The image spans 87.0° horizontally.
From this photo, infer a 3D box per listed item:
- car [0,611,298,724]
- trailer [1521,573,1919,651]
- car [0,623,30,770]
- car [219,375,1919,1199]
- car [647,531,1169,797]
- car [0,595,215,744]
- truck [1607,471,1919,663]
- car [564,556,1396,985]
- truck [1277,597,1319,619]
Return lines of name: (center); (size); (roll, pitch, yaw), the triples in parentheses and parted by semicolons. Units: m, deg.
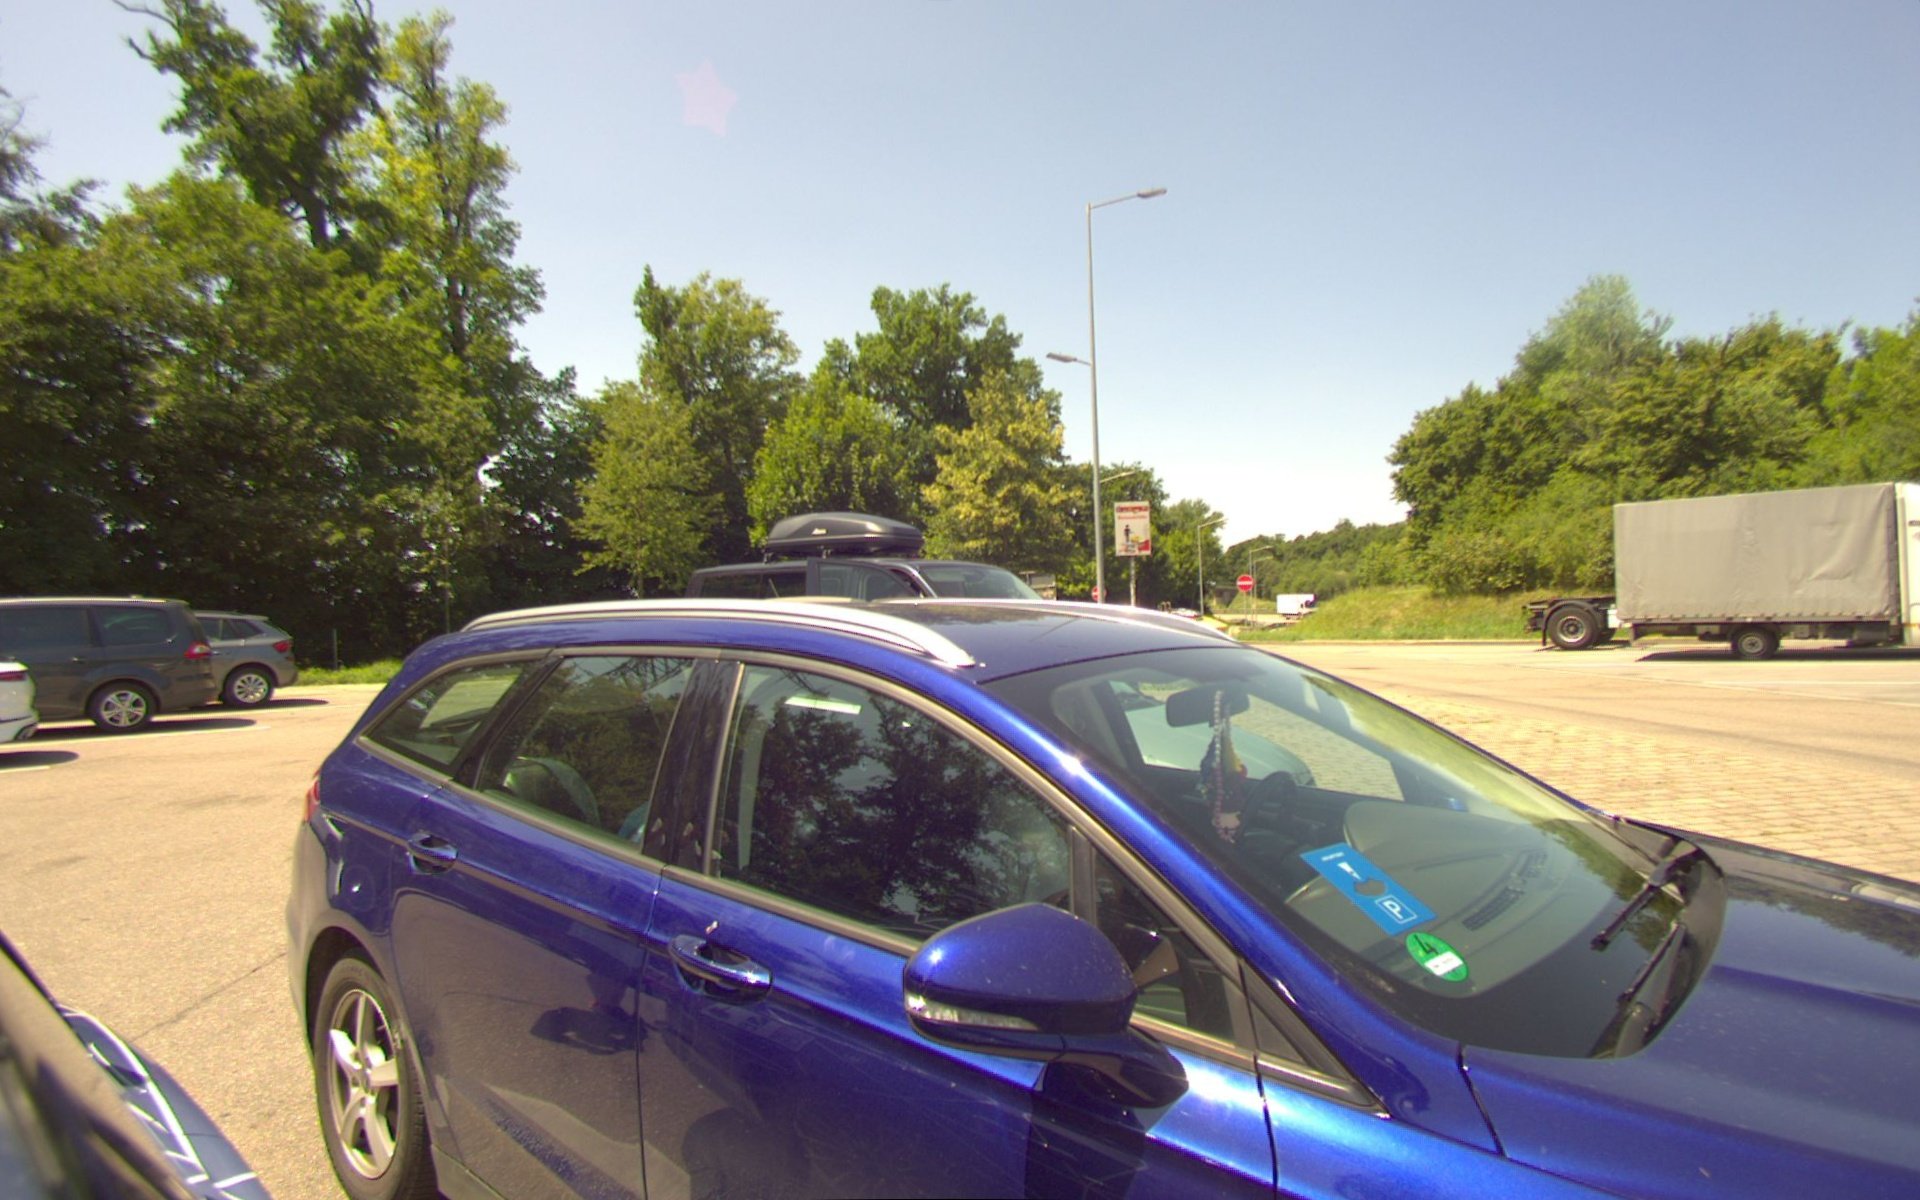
car: (-12.585, 0.959, 15.703); (3.762, 1.551, 1.724); (0, -1, -38)
trailer: (17.644, 0.319, 23.156); (8.088, 1.385, 2.200); (-4, -1, 41)
car: (-10.987, 0.934, 9.158); (3.767, 1.396, 1.722); (0, -1, -43)
car: (0.256, 0.636, 2.074); (4.637, 1.493, 1.720); (-2, -1, 39)
car: (-0.650, 0.513, 9.359); (4.635, 1.884, 1.937); (-2, 0, 37)
car: (-11.646, 0.825, 12.622); (3.762, 1.737, 1.724); (0, -1, -38)
truck: (16.716, -0.595, 18.934); (7.337, 3.235, 2.502); (-4, -1, 41)
car: (-0.206, 0.674, 5.785); (4.637, 1.545, 1.720); (-2, 0, 39)
truck: (49.178, 1.150, 147.398); (2.442, 3.102, 8.036); (-1, 0, -7)
